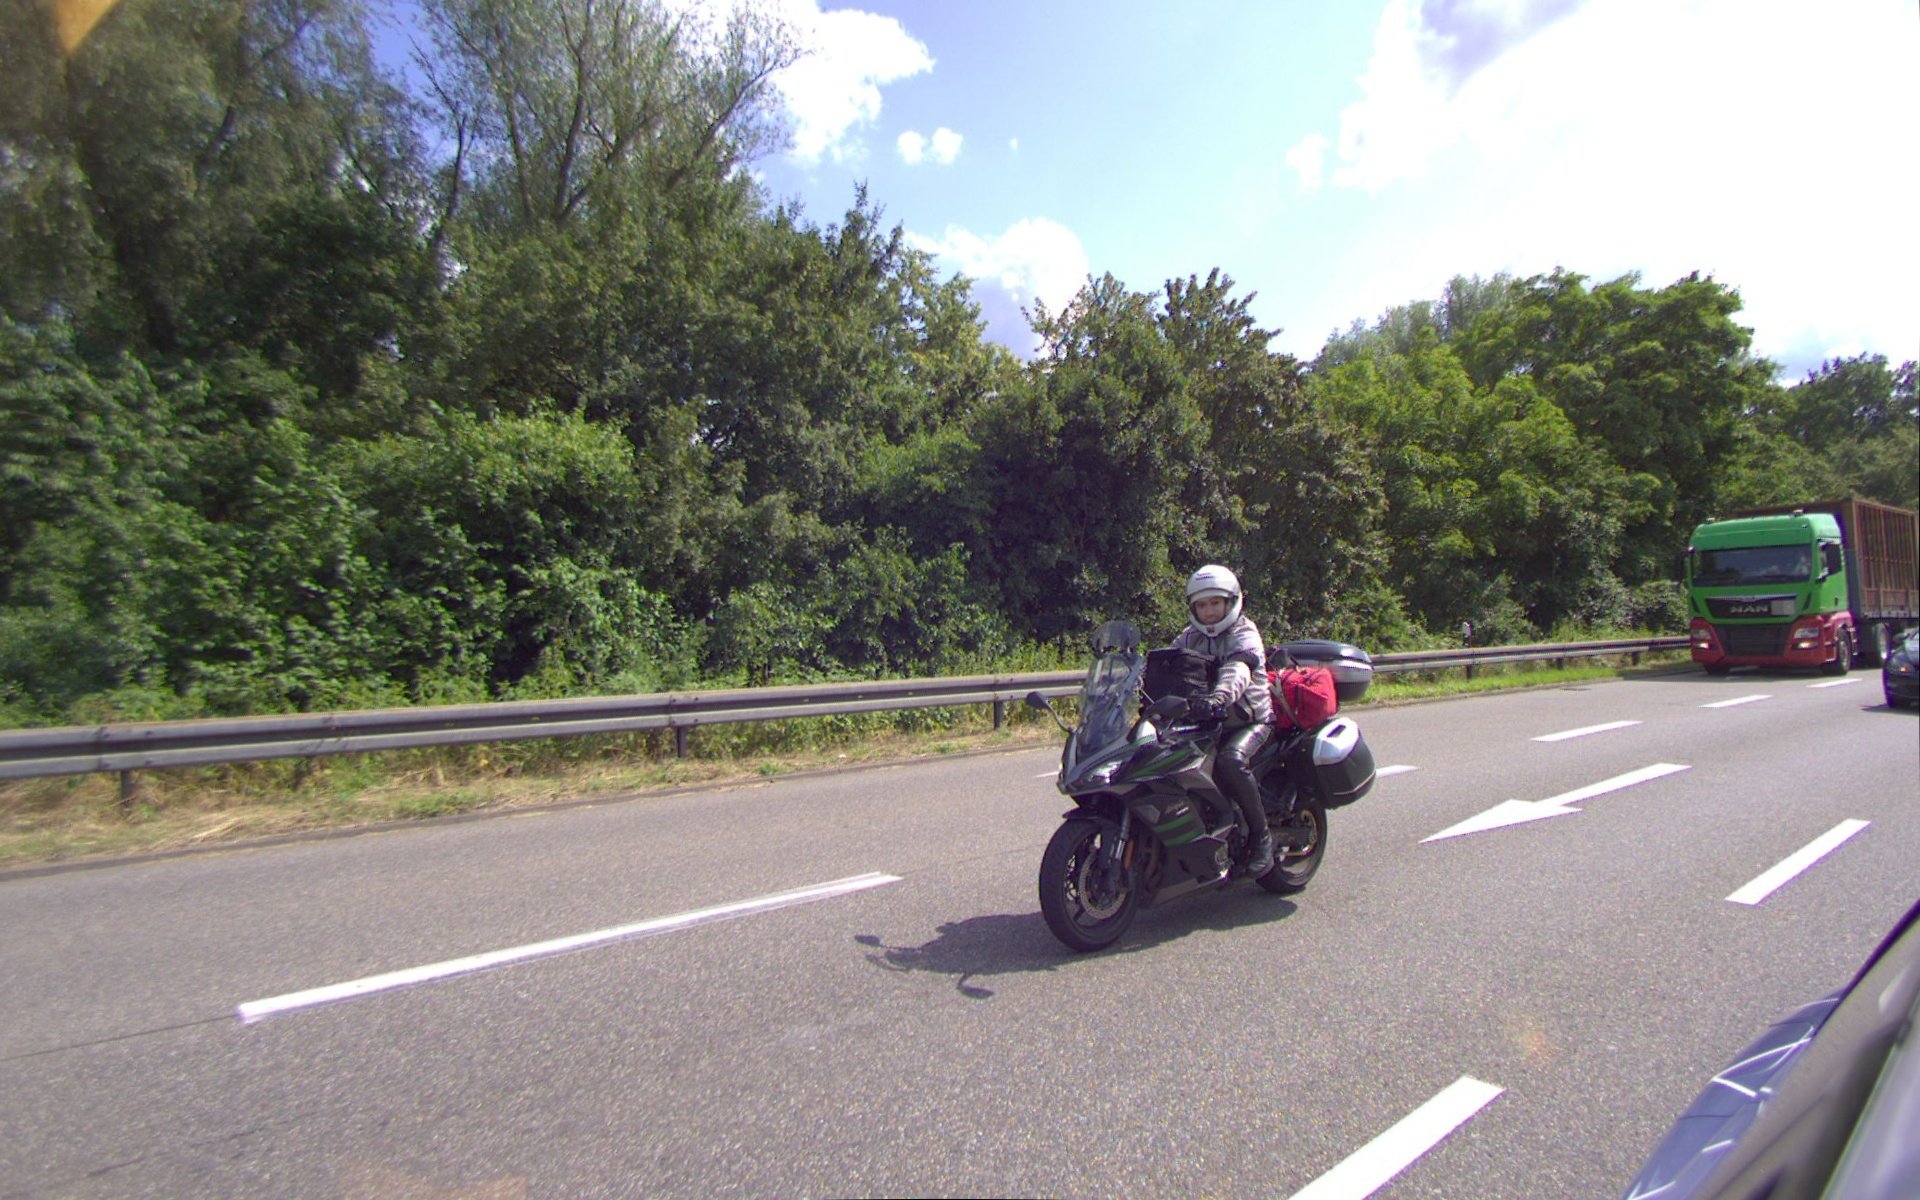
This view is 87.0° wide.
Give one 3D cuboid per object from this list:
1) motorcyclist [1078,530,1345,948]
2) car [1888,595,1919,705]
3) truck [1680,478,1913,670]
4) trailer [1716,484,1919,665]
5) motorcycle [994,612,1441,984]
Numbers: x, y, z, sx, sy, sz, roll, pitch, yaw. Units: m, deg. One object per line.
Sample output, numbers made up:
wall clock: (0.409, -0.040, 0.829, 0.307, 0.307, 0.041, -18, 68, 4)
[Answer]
motorcyclist: (1.179, 0.576, 4.794, 0.878, 1.722, 0.867, 1, -1, -37)
car: (14.956, 0.669, 14.397, 3.969, 1.495, 1.737, 0, -1, -35)
truck: (19.507, -0.493, 23.521, 5.947, 3.945, 2.592, 0, -3, -36)
trailer: (24.619, -0.520, 27.230, 14.228, 3.944, 2.592, 0, -3, -36)
motorcycle: (1.329, 0.763, 4.916, 2.326, 1.407, 0.867, 1, -1, -38)
